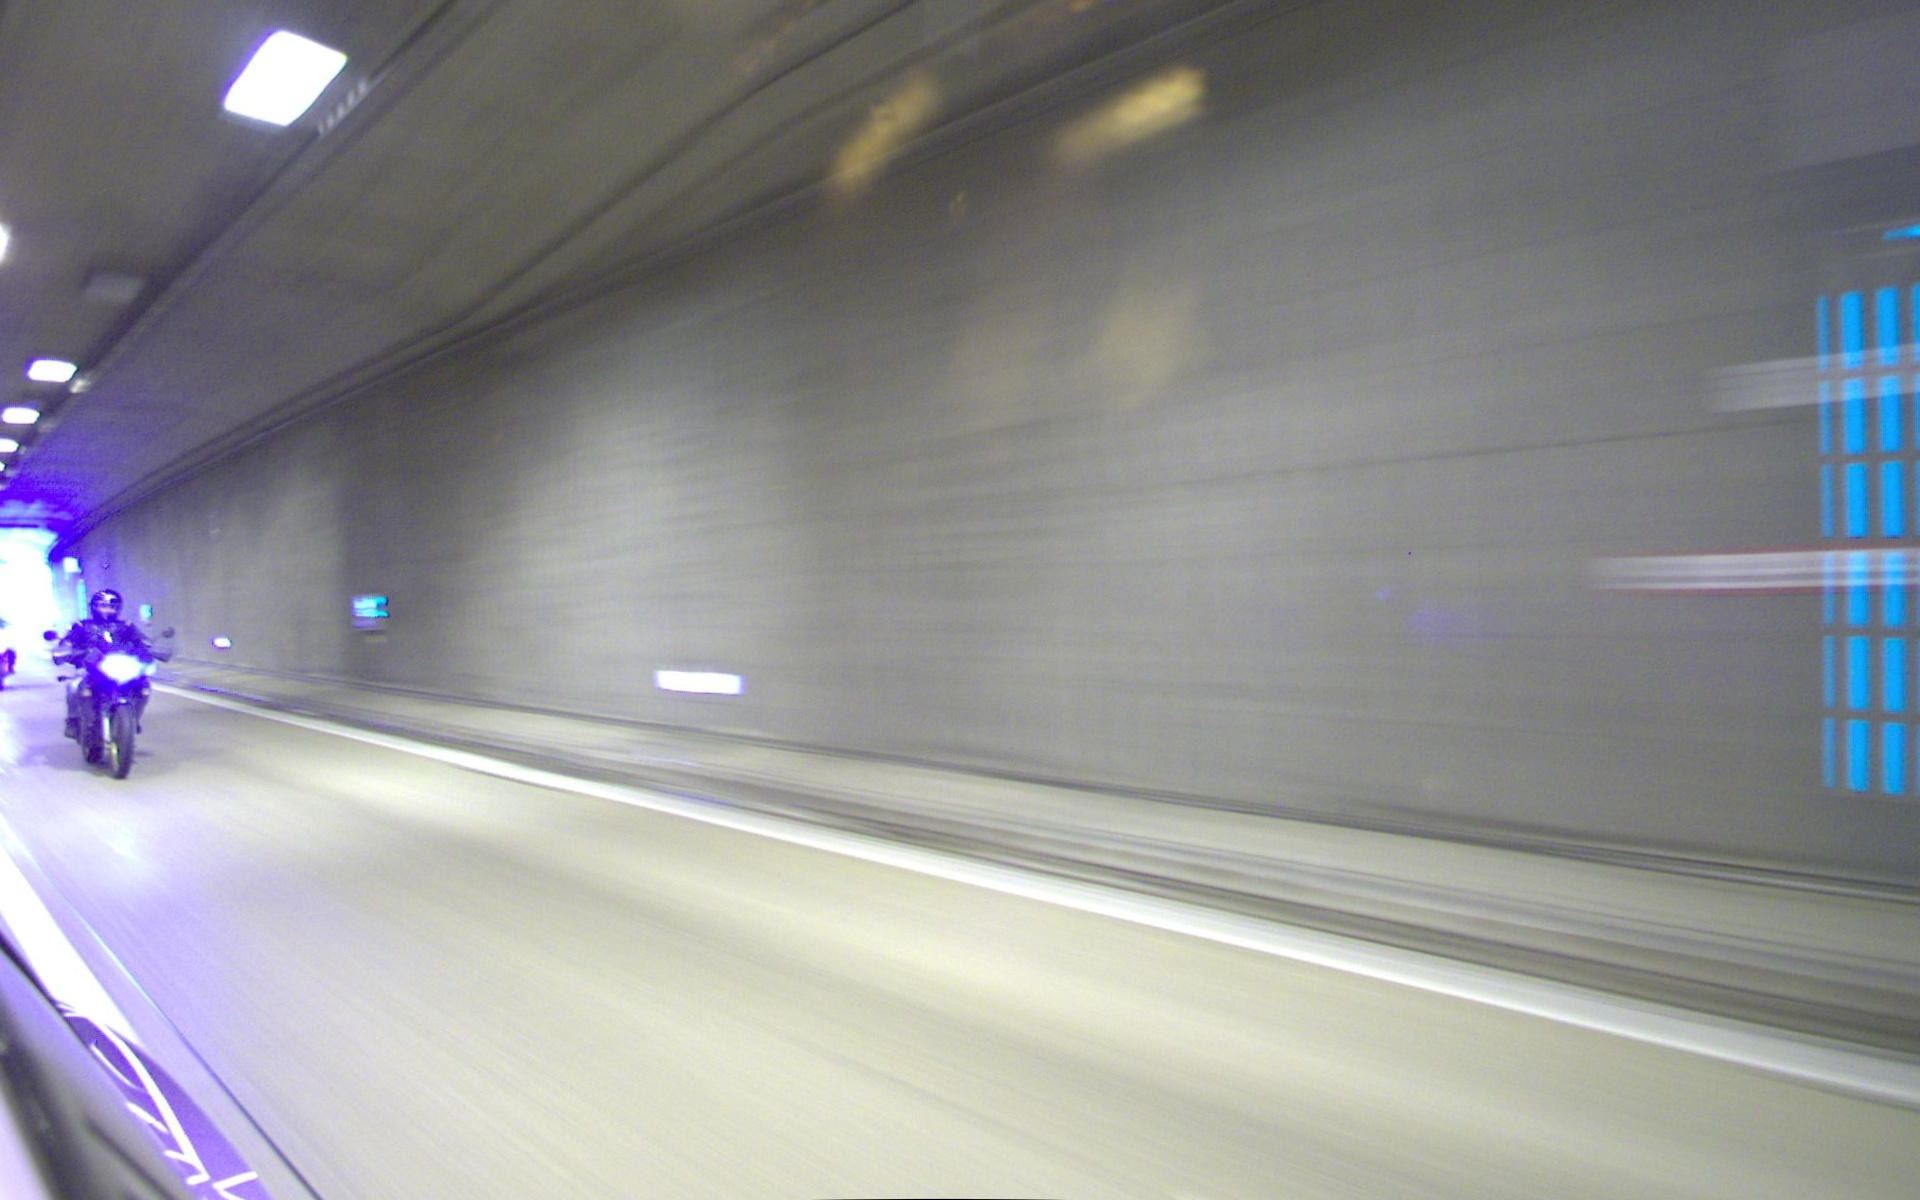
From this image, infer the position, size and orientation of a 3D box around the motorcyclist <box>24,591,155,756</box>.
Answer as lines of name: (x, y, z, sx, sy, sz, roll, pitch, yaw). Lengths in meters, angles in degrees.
motorcyclist: (-8.348, 0.673, 9.709, 0.821, 1.488, 0.830, -2, -2, 40)

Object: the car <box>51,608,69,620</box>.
car: (-140.547, 2.199, 158.000, 1.968, 1.812, 4.007, -1, 0, -40)

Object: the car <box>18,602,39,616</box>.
car: (-130.713, 1.275, 142.062, 1.968, 1.812, 4.007, -1, 0, -39)

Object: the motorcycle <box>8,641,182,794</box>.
motorcycle: (-8.328, 1.039, 9.695, 2.602, 1.255, 0.837, -2, -1, 39)

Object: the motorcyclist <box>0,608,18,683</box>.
motorcyclist: (-19.445, 0.910, 20.345, 0.890, 1.500, 0.620, -2, -2, 40)

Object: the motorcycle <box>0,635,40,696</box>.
motorcycle: (-19.592, 1.301, 20.441, 2.423, 1.166, 1.043, -1, -2, 37)
